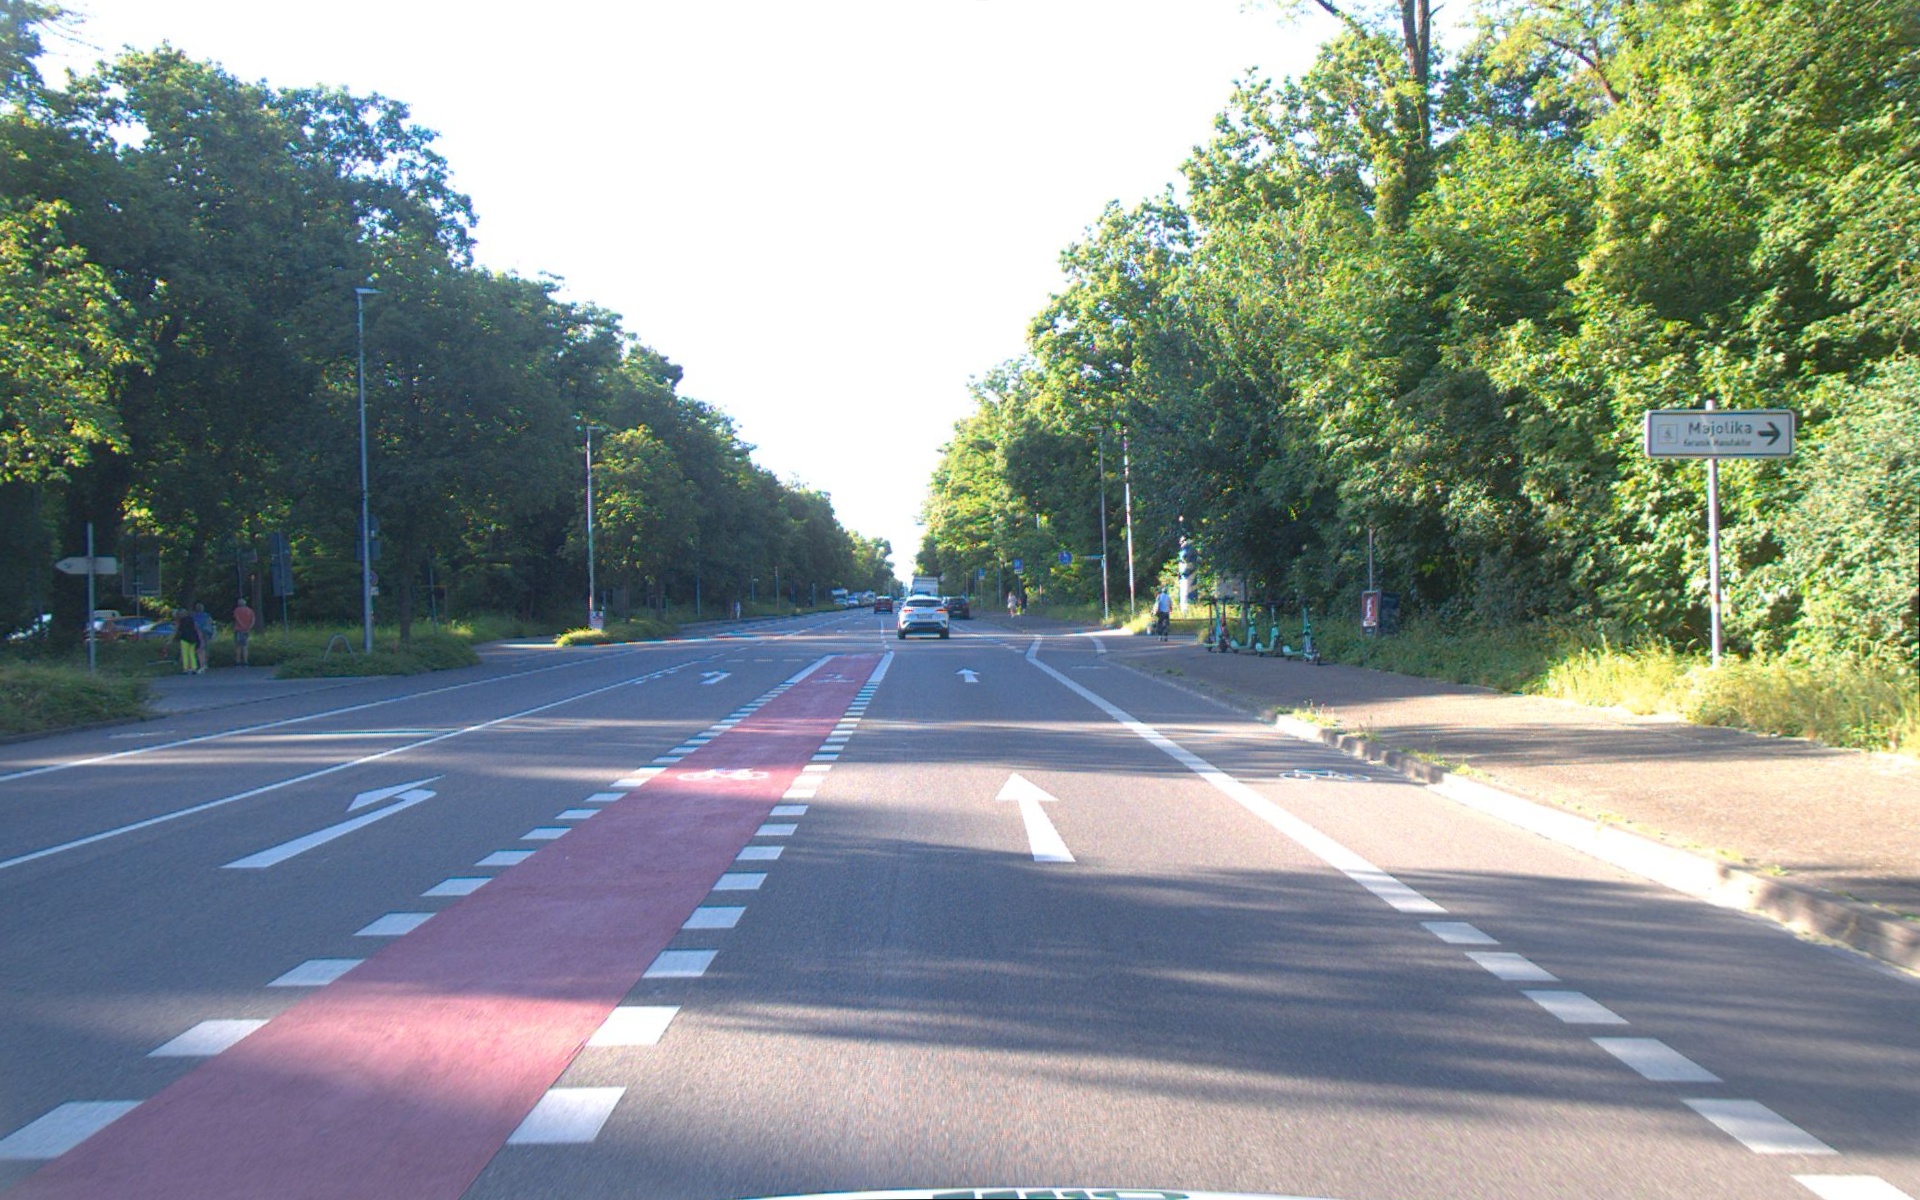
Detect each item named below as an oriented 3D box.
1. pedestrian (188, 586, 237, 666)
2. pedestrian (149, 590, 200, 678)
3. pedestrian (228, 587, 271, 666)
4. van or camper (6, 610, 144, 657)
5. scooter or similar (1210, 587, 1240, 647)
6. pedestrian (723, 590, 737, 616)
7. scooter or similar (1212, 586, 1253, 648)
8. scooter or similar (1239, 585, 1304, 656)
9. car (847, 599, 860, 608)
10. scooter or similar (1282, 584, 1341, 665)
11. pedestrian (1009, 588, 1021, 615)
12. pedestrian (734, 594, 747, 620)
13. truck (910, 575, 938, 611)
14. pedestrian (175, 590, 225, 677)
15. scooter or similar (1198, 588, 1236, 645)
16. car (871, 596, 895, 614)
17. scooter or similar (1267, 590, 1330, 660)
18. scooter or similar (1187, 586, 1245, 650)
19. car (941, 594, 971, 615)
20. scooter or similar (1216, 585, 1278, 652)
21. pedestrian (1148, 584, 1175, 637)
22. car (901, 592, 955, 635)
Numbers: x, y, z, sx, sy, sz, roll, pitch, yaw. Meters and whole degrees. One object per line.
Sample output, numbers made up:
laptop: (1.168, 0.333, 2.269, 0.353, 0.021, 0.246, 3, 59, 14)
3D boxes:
pedestrian: (-19.439, 0.677, 43.001, 0.703, 2.049, 0.873, -1, 0, 30)
pedestrian: (-18.543, 0.789, 39.066, 0.701, 2.049, 0.797, -1, 0, 16)
pedestrian: (-18.889, 0.703, 43.969, 0.703, 2.049, 0.746, -1, 0, 30)
van or camper: (-40.557, 1.574, 75.949, 1.955, 2.049, 5.410, -1, -3, 28)
scooter or similar: (6.654, 0.419, 41.502, 0.667, 1.448, 1.246, -1, 0, 7)
pedestrian: (-18.738, 0.257, 134.762, 0.846, 2.049, 1.269, -1, 0, 0)
scooter or similar: (6.581, 0.390, 39.987, 0.668, 1.448, 1.681, -1, 0, -1)
scooter or similar: (6.560, 0.417, 34.924, 0.670, 1.448, 1.675, -1, 0, -15)
car: (-16.740, 0.492, 259.017, 1.954, 1.350, 3.998, -2, 0, -3)
scooter or similar: (6.570, 0.439, 30.972, 0.668, 1.448, 1.681, -1, 0, -2)
pedestrian: (3.508, 0.074, 104.934, 0.684, 1.682, 0.876, -2, 0, -2)
pedestrian: (-17.854, 0.583, 134.783, 0.814, 2.049, 1.269, -2, 0, 0)
truck: (-3.748, -0.724, 172.635, 2.743, 3.632, 8.030, 0, 0, -3)
pedestrian: (-18.312, 0.798, 39.851, 0.701, 2.049, 0.797, -2, 0, 17)
scooter or similar: (6.671, 0.419, 43.042, 0.668, 1.448, 1.681, -1, 0, -1)
car: (-6.961, 0.446, 150.020, 1.953, 1.545, 3.999, -2, 0, -1)
scooter or similar: (6.709, 0.488, 32.829, 0.459, 1.329, 1.470, -1, 0, -23)
scooter or similar: (5.974, 0.419, 38.663, 0.671, 1.448, 1.674, -1, 0, -16)
car: (-0.292, 0.314, 113.253, 1.953, 1.350, 3.999, -2, 0, -2)
scooter or similar: (6.404, 0.414, 36.992, 0.671, 1.448, 1.674, -1, 0, -16)
pedestrian: (6.209, 0.322, 50.988, 0.739, 1.591, 0.803, -2, 0, 3)
car: (-1.181, 0.465, 59.697, 1.727, 1.485, 3.814, 0, 0, -5)
